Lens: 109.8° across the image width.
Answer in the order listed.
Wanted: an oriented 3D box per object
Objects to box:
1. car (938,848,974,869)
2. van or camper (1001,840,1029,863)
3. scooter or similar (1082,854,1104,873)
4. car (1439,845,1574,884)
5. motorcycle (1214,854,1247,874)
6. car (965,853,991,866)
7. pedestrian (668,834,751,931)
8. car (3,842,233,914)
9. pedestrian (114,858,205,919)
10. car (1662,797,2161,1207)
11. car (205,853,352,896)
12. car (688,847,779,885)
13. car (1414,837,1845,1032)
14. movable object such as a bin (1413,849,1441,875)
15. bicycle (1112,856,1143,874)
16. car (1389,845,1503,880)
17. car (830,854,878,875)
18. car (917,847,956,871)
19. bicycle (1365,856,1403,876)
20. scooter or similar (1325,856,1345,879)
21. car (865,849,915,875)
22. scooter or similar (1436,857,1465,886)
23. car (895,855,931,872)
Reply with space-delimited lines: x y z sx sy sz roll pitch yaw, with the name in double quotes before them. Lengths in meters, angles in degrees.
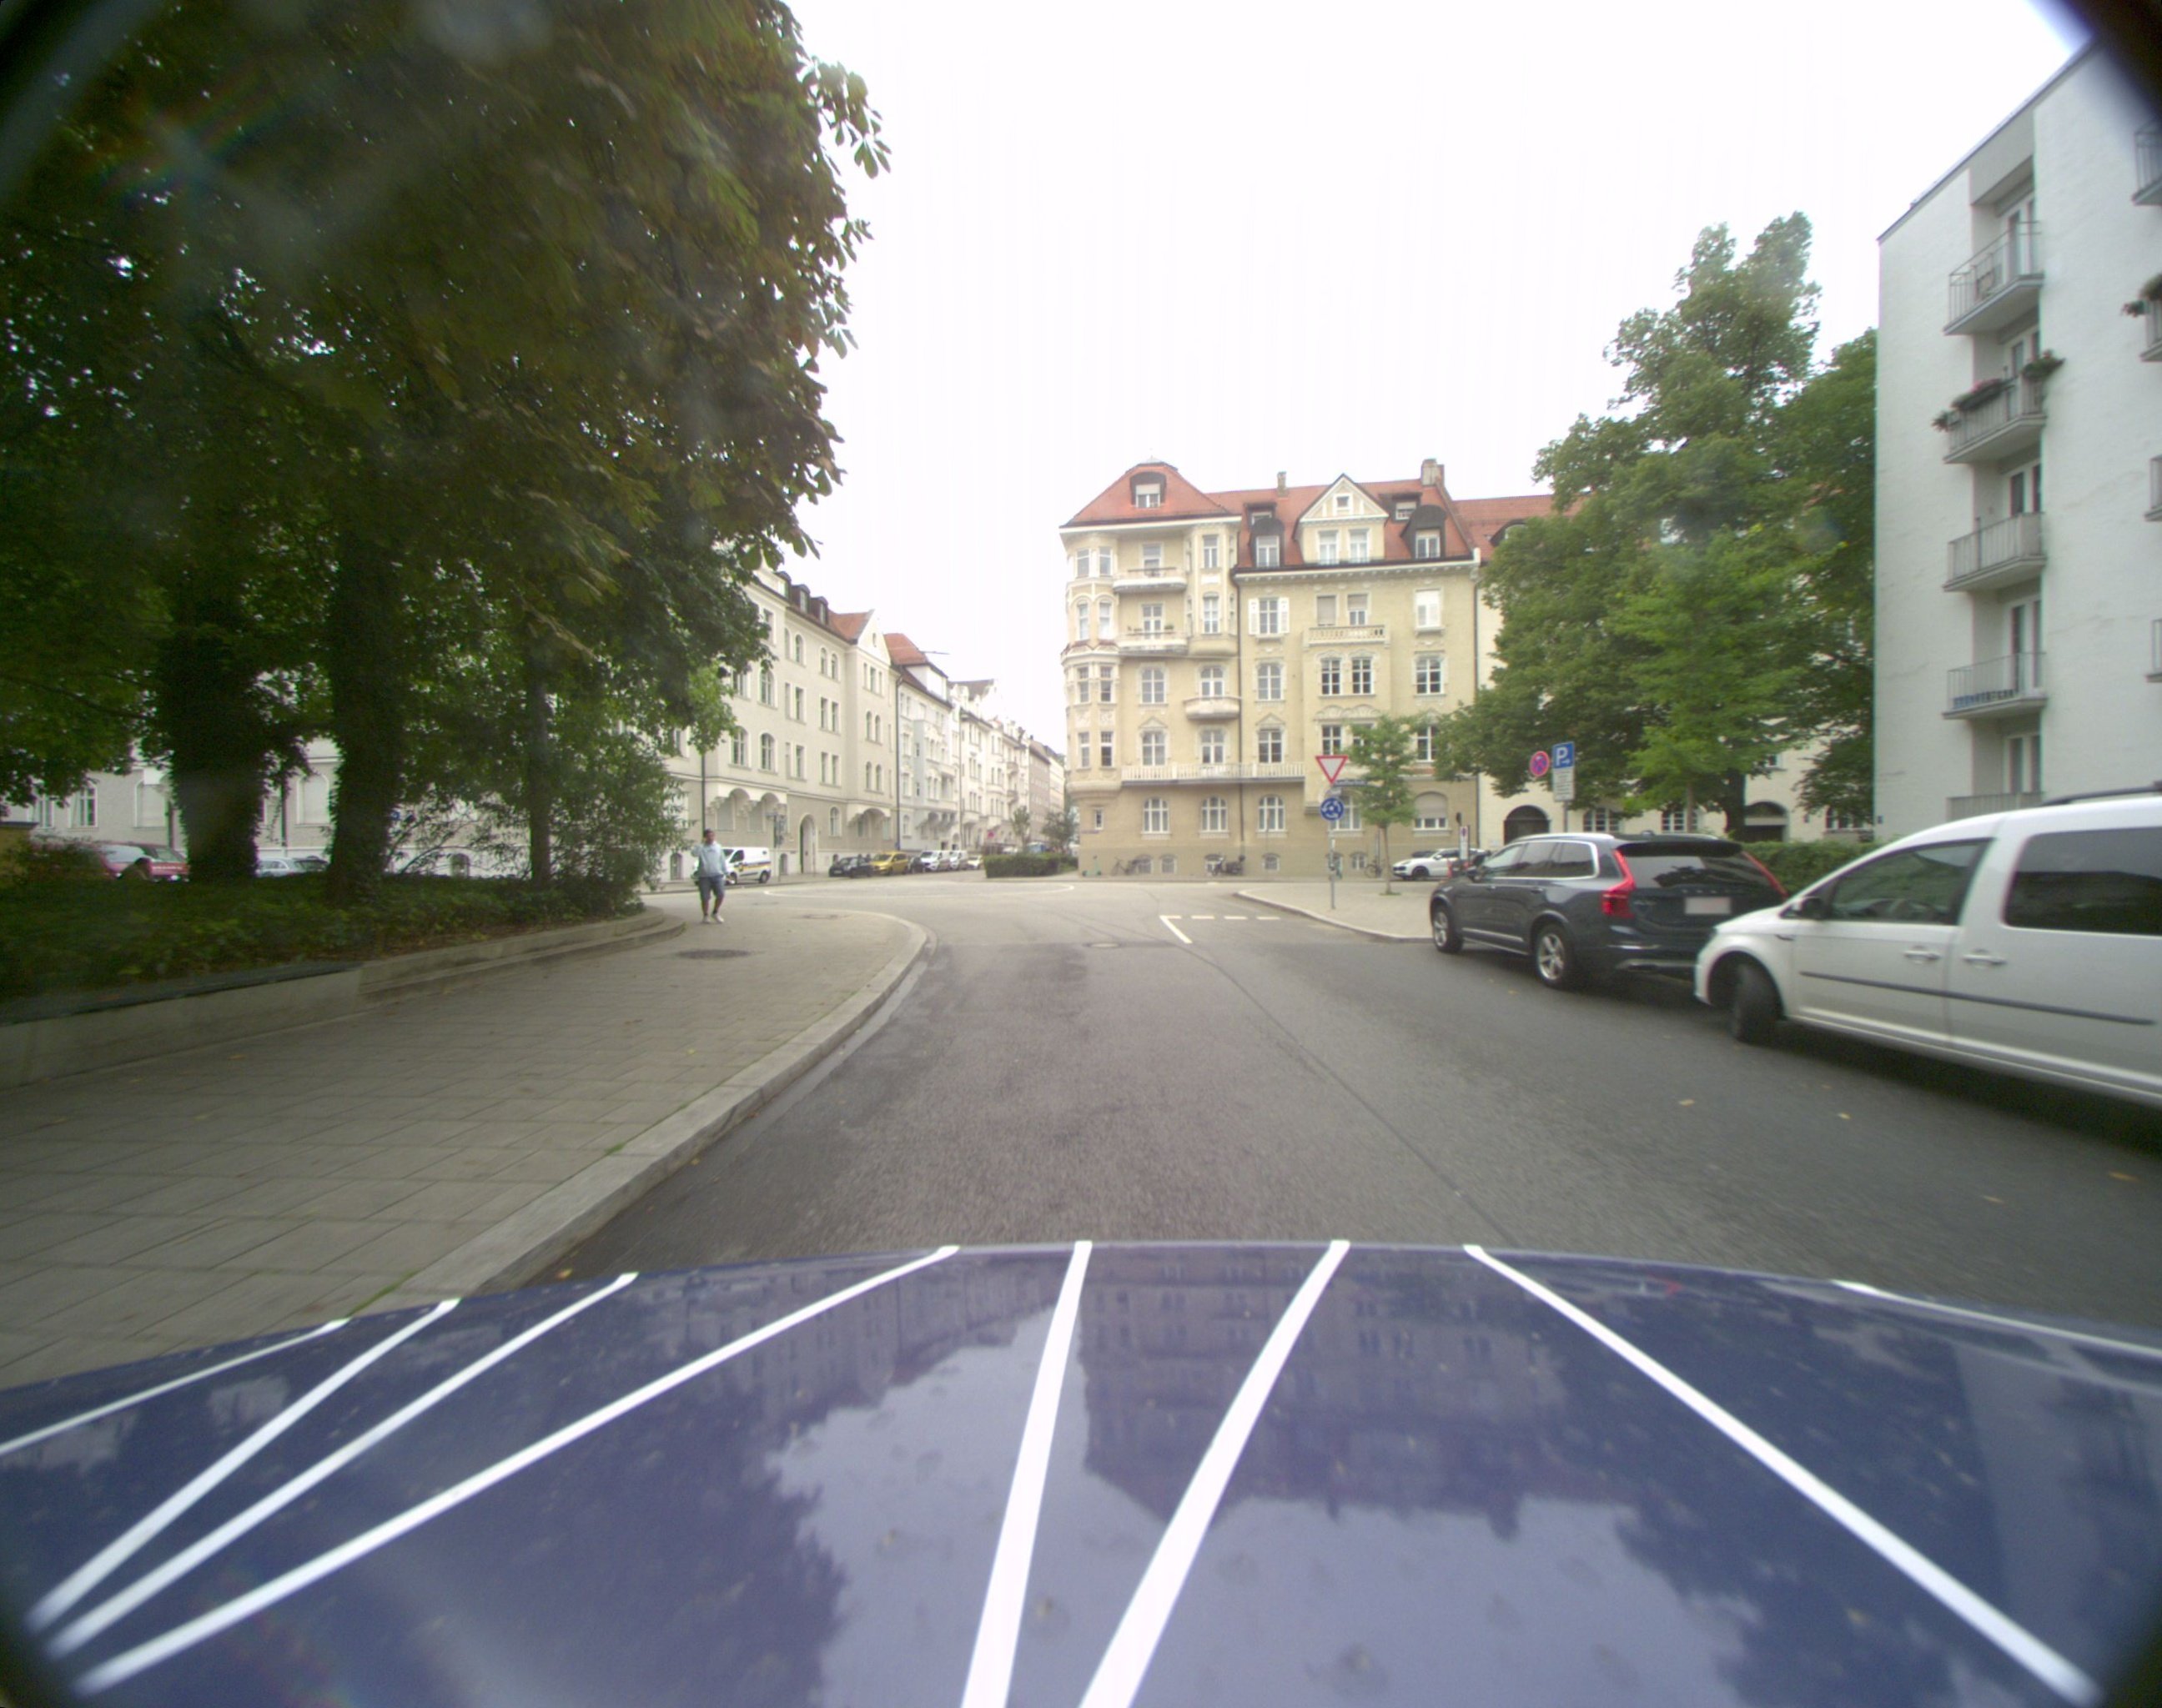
"car" -12.189 0.428 74.433 2.121 1.982 4.826 0 0 8
"van or camper" -8.537 -0.403 99.180 1.997 2.897 6.442 0 1 11
"scooter or similar" 0.712 0.575 45.165 1.217 1.109 0.466 -1 1 -25
"car" 17.110 0.430 30.711 4.418 1.496 1.825 0 -1 2
"motorcycle" 8.687 0.584 44.253 1.828 1.169 0.600 -1 1 6
"car" -10.832 0.586 80.023 1.695 1.338 3.541 0 0 9
"pedestrian" -6.937 0.515 14.230 1.050 1.761 0.877 0 1 12
"car" -27.292 0.643 21.598 4.880 1.910 1.881 0 2 10
"pedestrian" -20.975 0.766 17.310 0.875 1.330 1.014 0 1 14
"car" 5.975 0.691 4.249 1.834 1.907 4.849 1 1 2
"car" -31.362 0.806 29.734 4.489 1.592 1.754 0 -1 10
"car" -17.981 0.569 39.600 1.922 1.870 4.914 0 0 8
"car" 6.131 0.724 9.485 1.998 1.781 4.914 1 1 3
"movable object such as a bin" 19.358 0.458 42.504 1.172 1.417 1.095 0 1 9
"bicycle" 2.775 0.665 45.151 1.828 1.043 0.565 -1 1 6
"car" 18.503 0.419 38.714 4.834 1.691 1.983 0 1 7
"car" -15.467 0.693 51.979 1.695 1.338 3.683 0 0 10
"car" -12.944 0.478 68.360 2.122 2.079 4.825 0 0 6
"bicycle" 16.341 0.646 41.045 1.828 1.043 0.565 -1 1 6
"scooter or similar" 13.306 0.701 39.820 1.218 1.187 0.466 -1 1 -43
"car" -14.364 0.581 57.297 2.024 1.828 4.140 0 0 12
"scooter or similar" 14.120 0.649 29.035 0.391 1.082 1.000 -1 1 -20
"car" -13.760 0.765 62.347 1.695 1.338 3.541 0 0 9
